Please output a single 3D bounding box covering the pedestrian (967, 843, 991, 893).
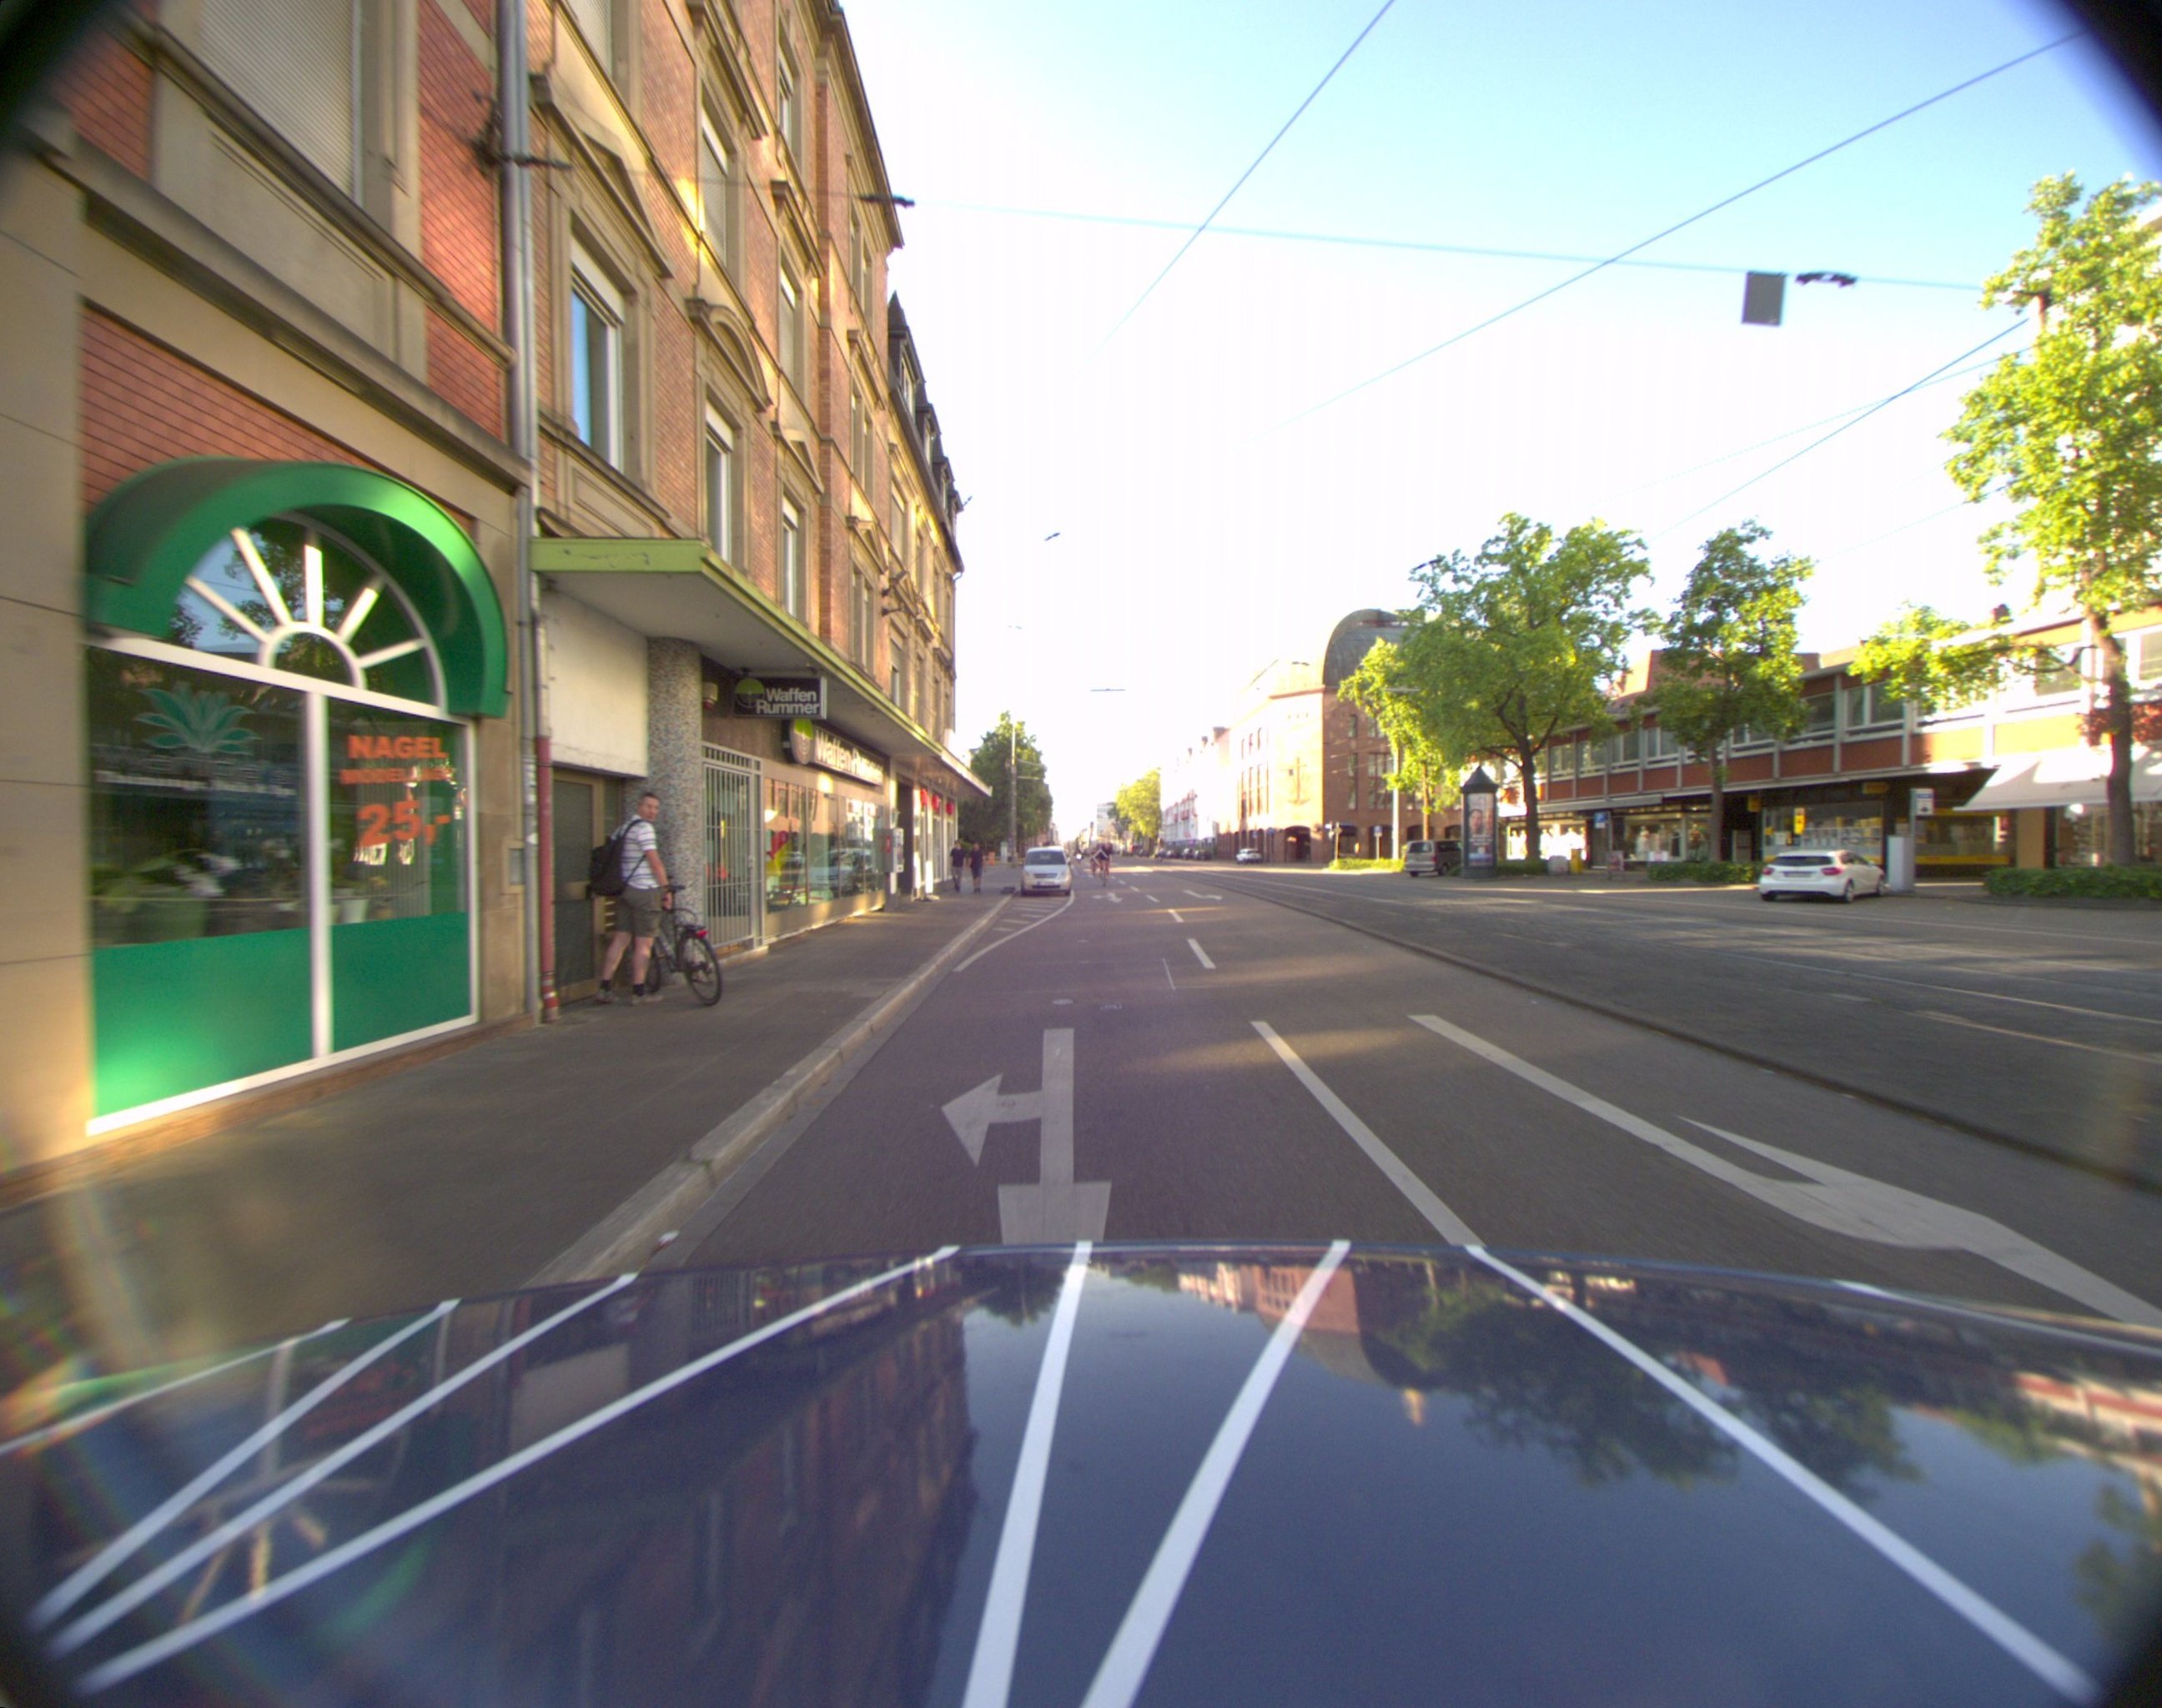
[{"bbox_3d":[-3.514,0.475,26.226,0.701,1.713,0.502,2,1,0],"label":"pedestrian"}]

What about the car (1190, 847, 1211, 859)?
[{"bbox_3d":[16.540,-0.121,105.347,1.965,1.594,3.998,-1,1,-3],"label":"car"}]

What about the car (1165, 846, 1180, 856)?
[{"bbox_3d":[15.689,-0.586,130.799,1.965,1.594,3.998,-1,1,-3],"label":"car"}]

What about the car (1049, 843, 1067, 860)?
[{"bbox_3d":[-2.336,-0.267,78.462,1.671,1.674,4.000,0,1,1],"label":"car"}]

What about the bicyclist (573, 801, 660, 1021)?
[{"bbox_3d":[-4.215,0.484,6.935,0.601,1.871,0.742,0,1,-27],"label":"bicyclist"}]

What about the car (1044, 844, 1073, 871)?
[{"bbox_3d":[-1.403,0.199,48.398,1.671,1.674,4.000,0,1,1],"label":"car"}]

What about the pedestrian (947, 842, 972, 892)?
[{"bbox_3d":[-4.245,0.433,26.555,0.701,1.713,0.681,2,1,0],"label":"pedestrian"}]

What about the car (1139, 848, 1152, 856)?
[{"bbox_3d":[13.089,-0.381,154.063,1.965,1.594,3.998,-1,1,-3],"label":"car"}]

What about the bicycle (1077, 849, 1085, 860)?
[{"bbox_3d":[-0.009,0.067,80.383,0.646,1.176,1.804,0,1,-4],"label":"bicycle"}]

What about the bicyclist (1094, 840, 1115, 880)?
[{"bbox_3d":[0.983,0.245,32.083,0.886,1.650,0.803,0,1,2],"label":"bicyclist"}]

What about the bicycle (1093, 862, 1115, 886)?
[{"bbox_3d":[0.976,0.834,32.099,0.886,0.949,1.765,0,1,2],"label":"bicycle"}]

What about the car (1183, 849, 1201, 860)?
[{"bbox_3d":[16.298,0.087,111.806,1.965,1.594,3.998,-1,1,-3],"label":"car"}]

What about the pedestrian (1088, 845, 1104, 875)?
[{"bbox_3d":[0.862,0.321,43.054,0.849,1.652,0.850,0,1,2],"label":"pedestrian"}]

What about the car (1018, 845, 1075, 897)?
[{"bbox_3d":[-1.128,0.547,26.609,1.670,1.674,4.000,0,1,2],"label":"car"}]

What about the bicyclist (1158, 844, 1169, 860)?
[{"bbox_3d":[7.719,-0.186,71.229,0.761,1.414,0.674,1,1,39],"label":"bicyclist"}]

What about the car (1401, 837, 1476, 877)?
[{"bbox_3d":[19.018,0.135,40.343,4.007,1.953,1.906,-2,1,-36],"label":"car"}]

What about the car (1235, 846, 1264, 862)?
[{"bbox_3d":[17.334,-0.009,78.310,1.911,1.594,3.998,-1,1,-3],"label":"car"}]

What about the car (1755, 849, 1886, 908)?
[{"bbox_3d":[21.038,0.633,21.582,4.006,1.466,1.793,-2,1,-32],"label":"car"}]

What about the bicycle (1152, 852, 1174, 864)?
[{"bbox_3d":[7.684,0.361,71.269,2.032,1.085,0.674,1,1,39],"label":"bicycle"}]

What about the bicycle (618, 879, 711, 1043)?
[{"bbox_3d":[-3.869,0.902,7.142,0.669,1.246,1.891,0,1,-27],"label":"bicycle"}]

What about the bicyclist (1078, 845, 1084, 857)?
[{"bbox_3d":[-0.002,-0.326,80.376,0.646,1.176,0.722,0,1,-4],"label":"bicyclist"}]

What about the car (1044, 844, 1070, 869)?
[{"bbox_3d":[-1.676,0.161,53.825,1.671,1.674,4.000,0,1,1],"label":"car"}]

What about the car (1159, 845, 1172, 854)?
[{"bbox_3d":[16.350,-0.913,147.353,1.965,1.594,3.998,-1,1,-3],"label":"car"}]

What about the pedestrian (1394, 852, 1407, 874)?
[{"bbox_3d":[25.378,0.691,60.273,0.790,1.737,0.548,0,1,2],"label":"pedestrian"}]
